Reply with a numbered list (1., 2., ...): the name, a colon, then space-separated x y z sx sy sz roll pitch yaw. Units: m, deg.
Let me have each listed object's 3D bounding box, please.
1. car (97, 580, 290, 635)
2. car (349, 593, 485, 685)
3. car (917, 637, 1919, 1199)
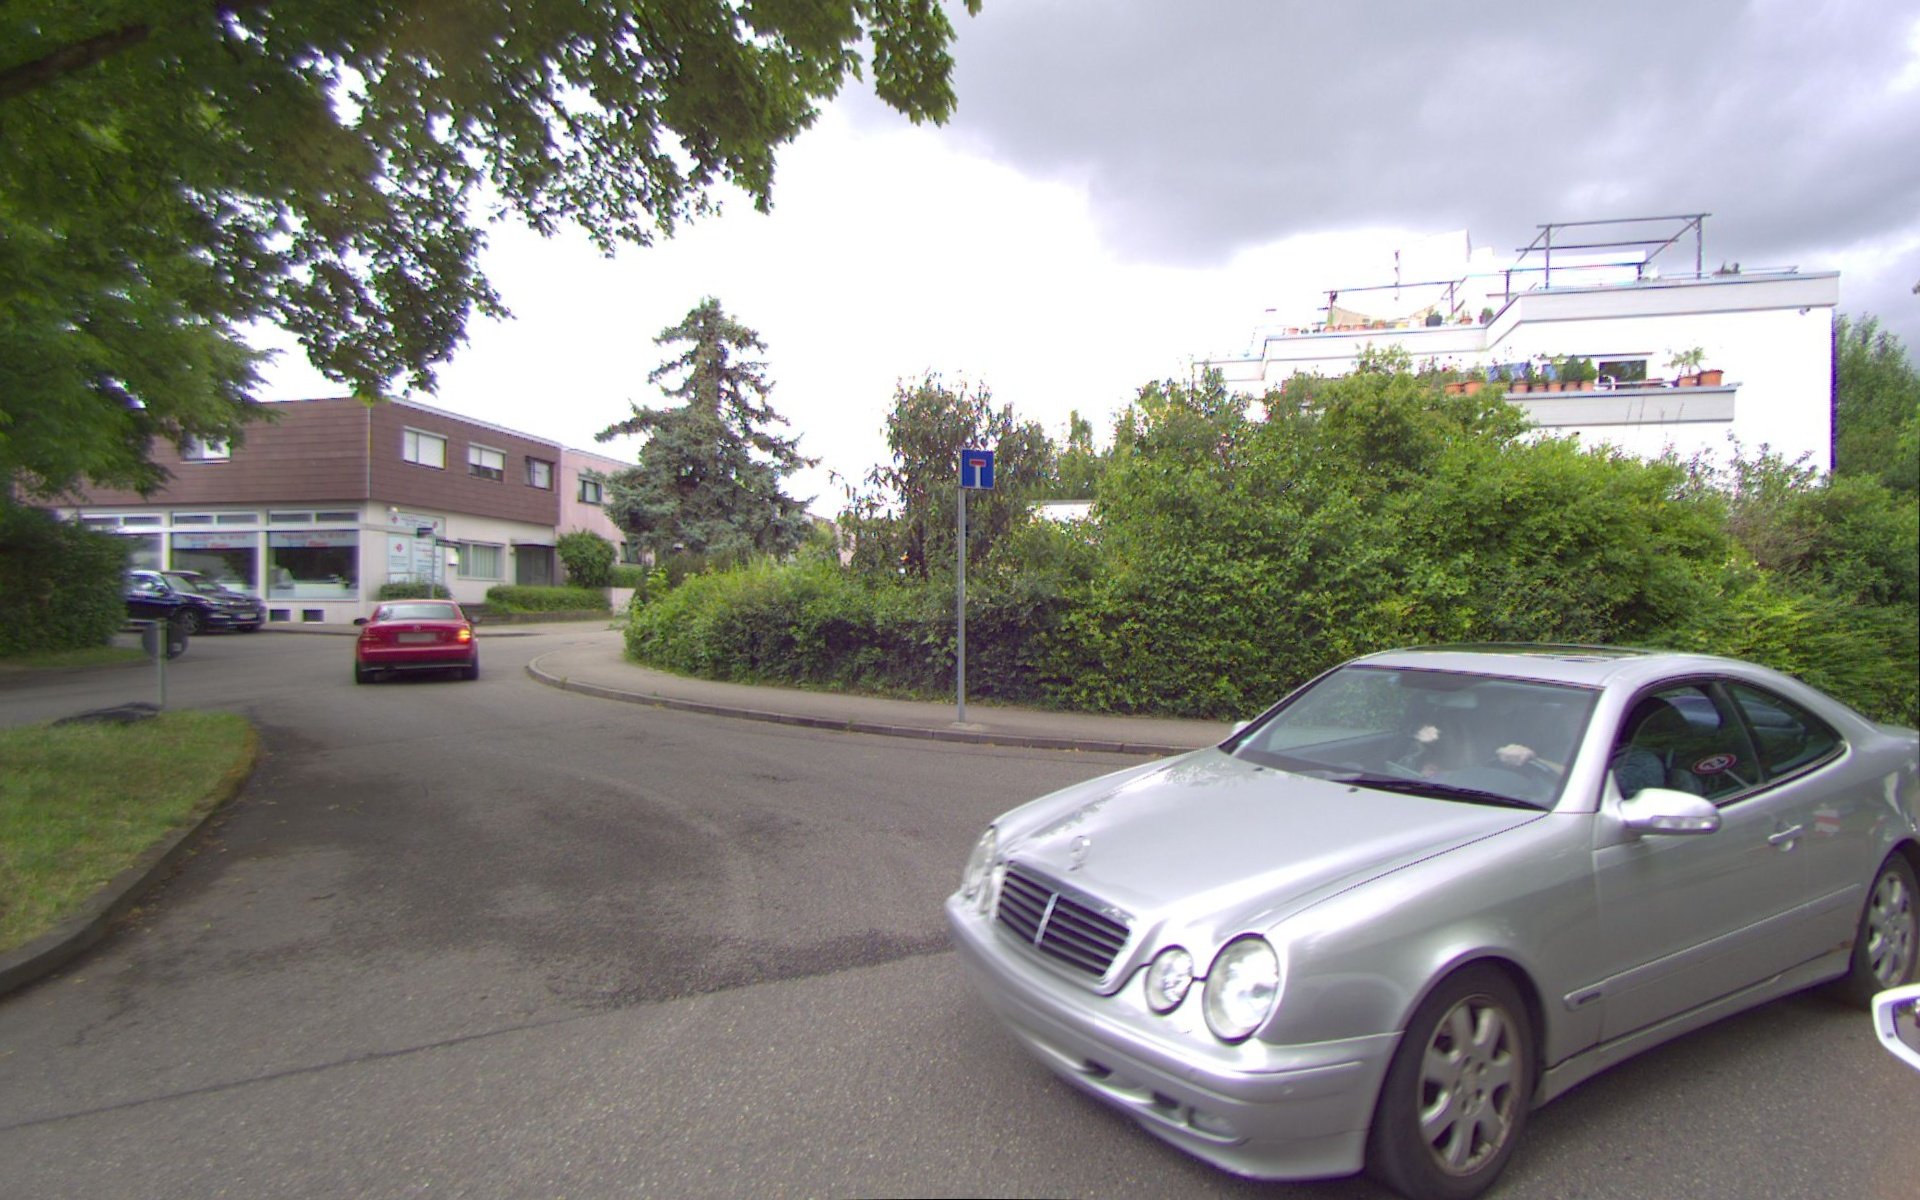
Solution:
1. car: -21.057 0.169 27.653 4.192 1.395 2.001 1 2 13
2. car: -9.017 0.584 16.956 1.732 1.353 4.040 1 0 -25
3. car: 2.116 0.849 3.975 4.245 1.324 1.773 1 0 -30
